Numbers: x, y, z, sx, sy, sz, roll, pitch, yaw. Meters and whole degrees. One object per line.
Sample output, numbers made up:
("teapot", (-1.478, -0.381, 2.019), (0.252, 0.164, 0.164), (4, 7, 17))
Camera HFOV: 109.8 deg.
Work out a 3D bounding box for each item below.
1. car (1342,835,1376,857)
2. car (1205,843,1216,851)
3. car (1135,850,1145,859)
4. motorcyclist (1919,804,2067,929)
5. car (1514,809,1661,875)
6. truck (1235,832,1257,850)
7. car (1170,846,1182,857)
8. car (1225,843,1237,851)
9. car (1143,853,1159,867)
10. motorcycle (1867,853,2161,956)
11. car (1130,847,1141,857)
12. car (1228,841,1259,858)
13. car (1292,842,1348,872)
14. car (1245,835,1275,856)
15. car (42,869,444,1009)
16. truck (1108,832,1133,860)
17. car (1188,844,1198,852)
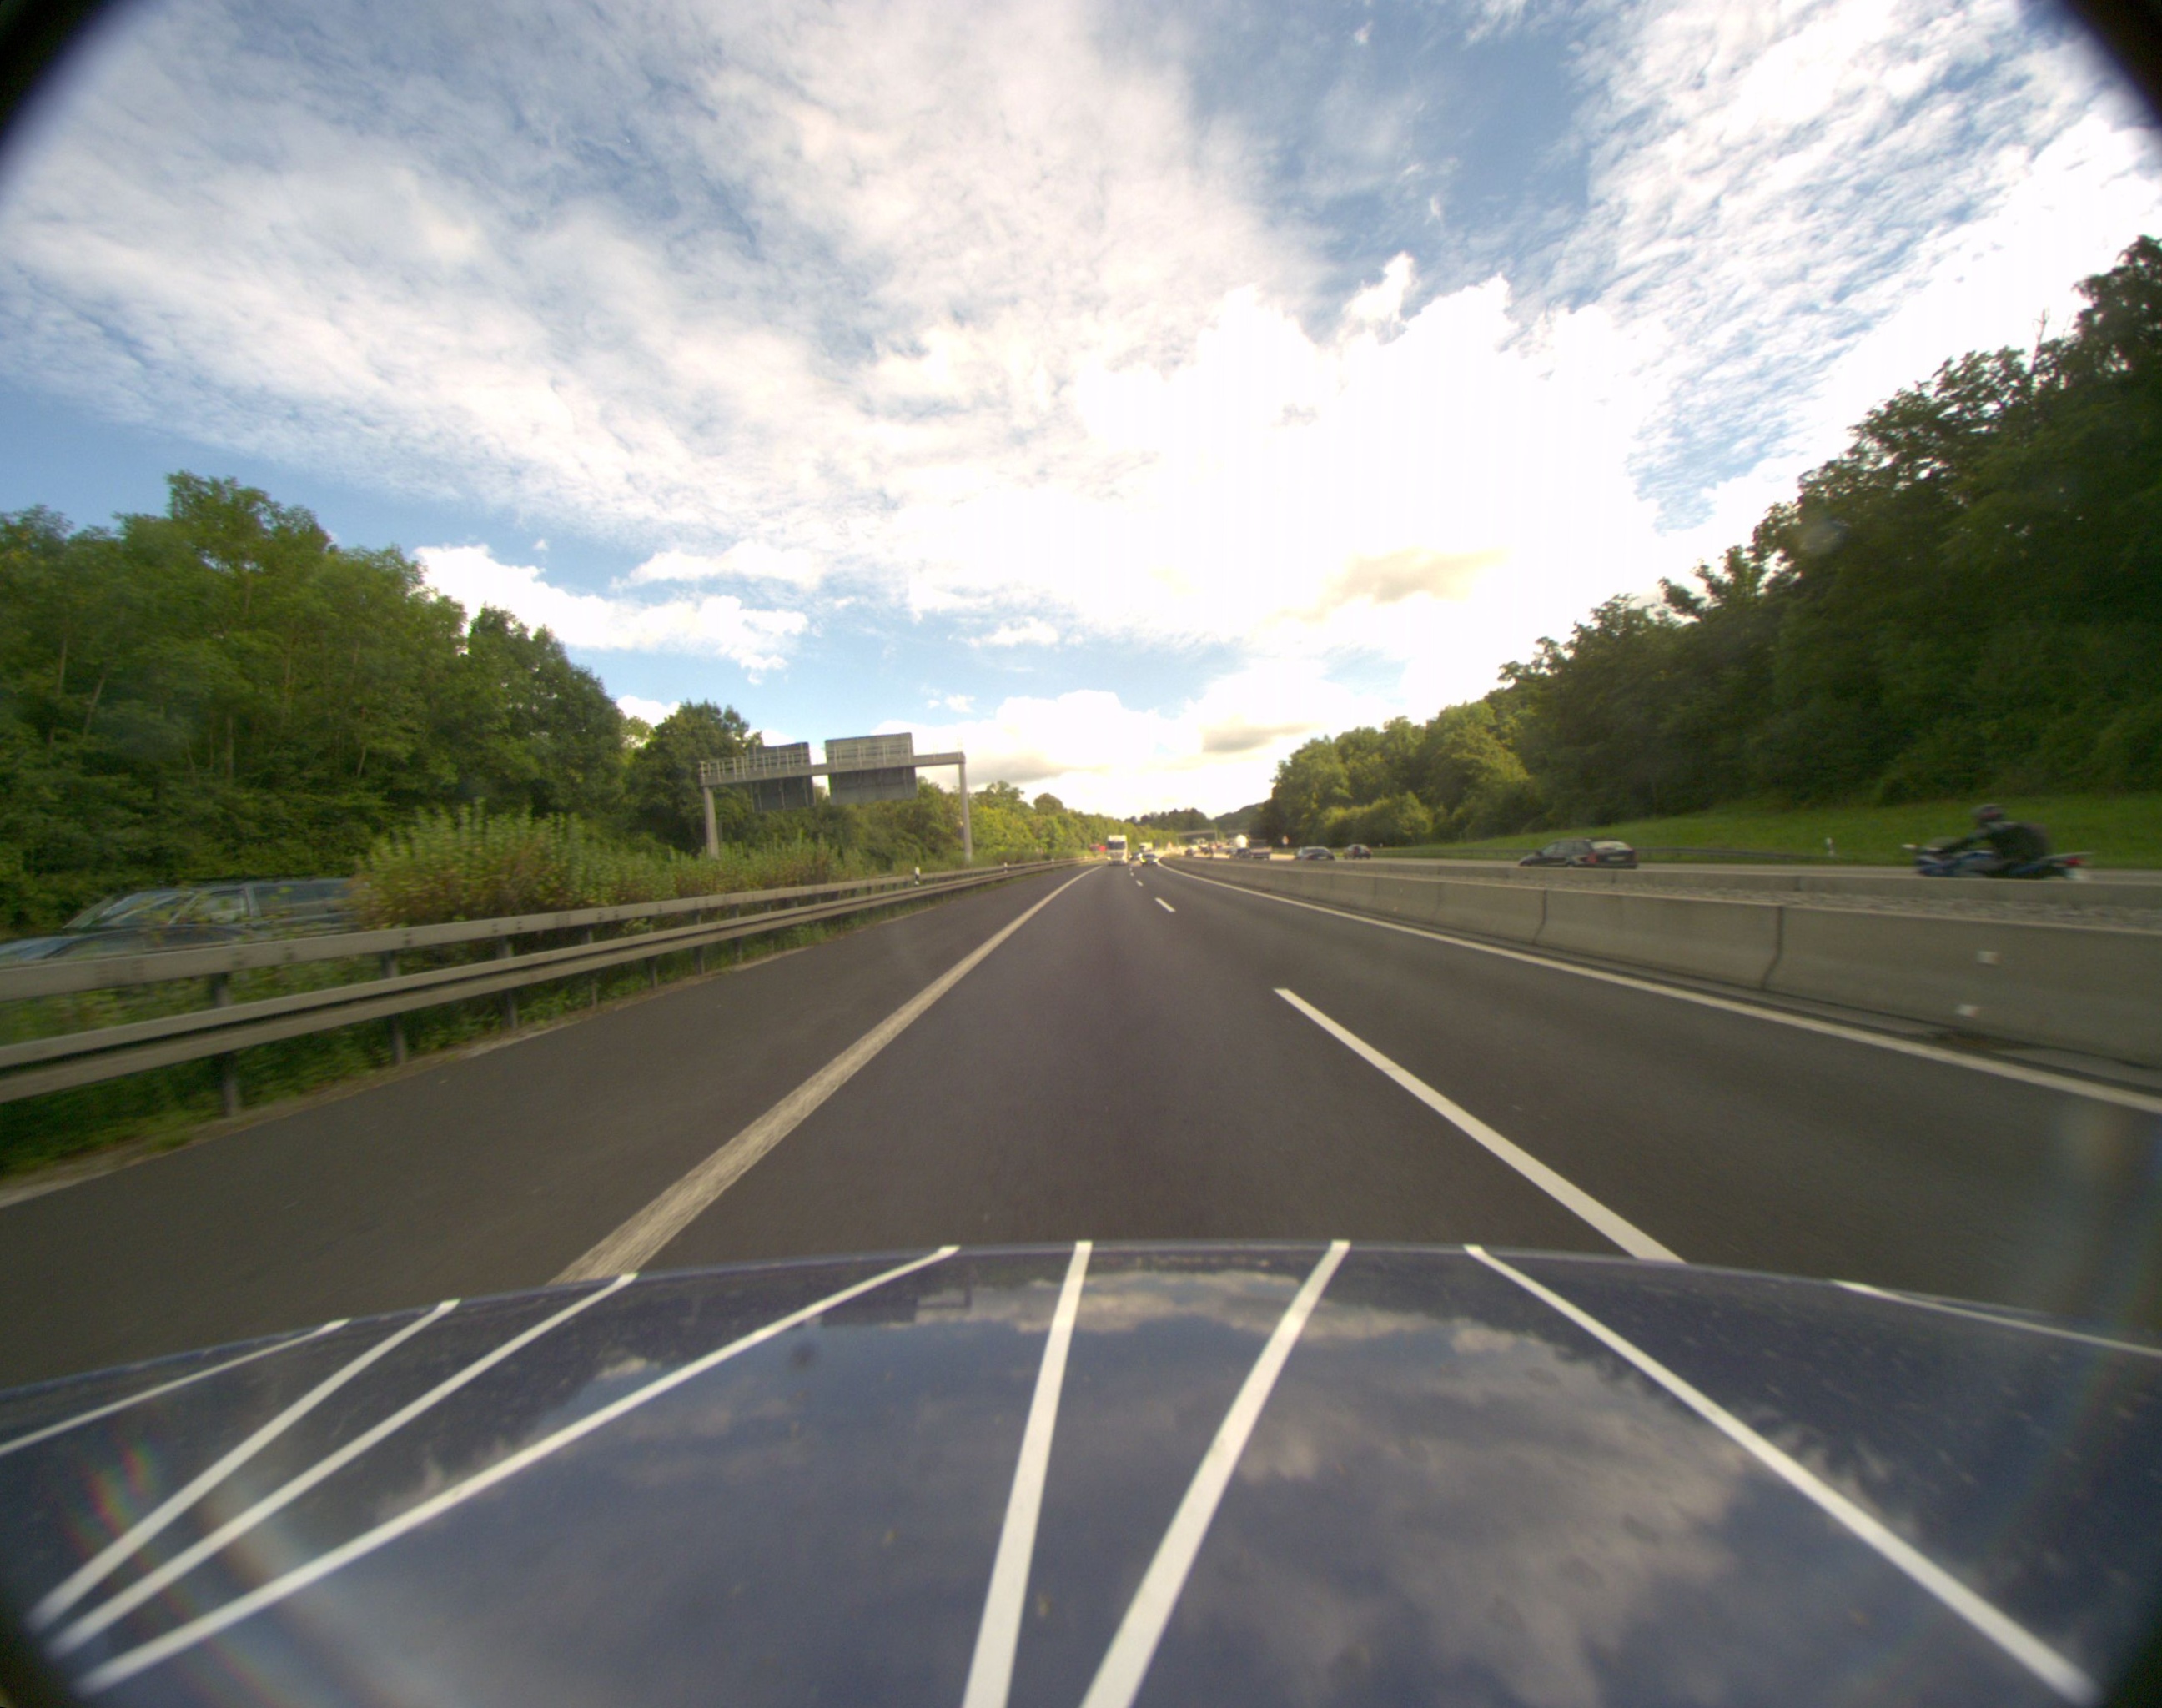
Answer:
("car", (27.784, -0.814, 76.098), (1.998, 2.022, 4.000), (-2, 0, 3))
("car", (28.695, -1.484, 168.846), (2.041, 1.605, 5.041), (-3, 0, 5))
("car", (13.750, 0.124, 177.115), (1.998, 2.002, 4.001), (-2, 1, 5))
("motorcyclist", (12.548, 0.165, 10.490), (0.897, 1.624, 0.922), (-2, 1, 2))
("car", (17.193, -0.408, 26.134), (1.998, 2.002, 4.778), (-2, 1, 3))
("truck", (39.535, -3.165, 182.847), (3.458, 4.103, 13.682), (-2, 1, 5))
("car", (18.476, -0.515, 147.845), (1.998, 2.022, 4.001), (-2, 0, 5))
("car", (31.557, -1.488, 159.842), (1.904, 1.456, 4.343), (-3, 0, 5))
("car", (8.204, 0.663, 88.820), (1.662, 1.464, 4.001), (-3, 0, 6))
("motorcycle", (12.564, 0.607, 10.416), (0.924, 1.181, 2.639), (-2, 0, 3))
("car", (10.132, -0.442, 141.896), (1.998, 1.798, 3.810), (-2, 0, 4))
("car", (15.603, -0.463, 73.316), (1.987, 1.501, 5.962), (-3, 0, 3))
("car", (14.088, 0.135, 45.045), (1.998, 1.617, 4.778), (-2, 1, 3))
("car", (20.635, -0.980, 88.060), (2.205, 2.117, 8.078), (-3, 0, 5))
("car", (-15.206, 1.384, 14.373), (1.998, 2.002, 4.909), (-3, 0, 1))
("truck", (5.554, -1.145, 105.144), (2.795, 3.562, 11.461), (-2, 1, 6))
("car", (24.032, -1.337, 163.509), (1.805, 1.597, 4.484), (-3, 0, 4))
